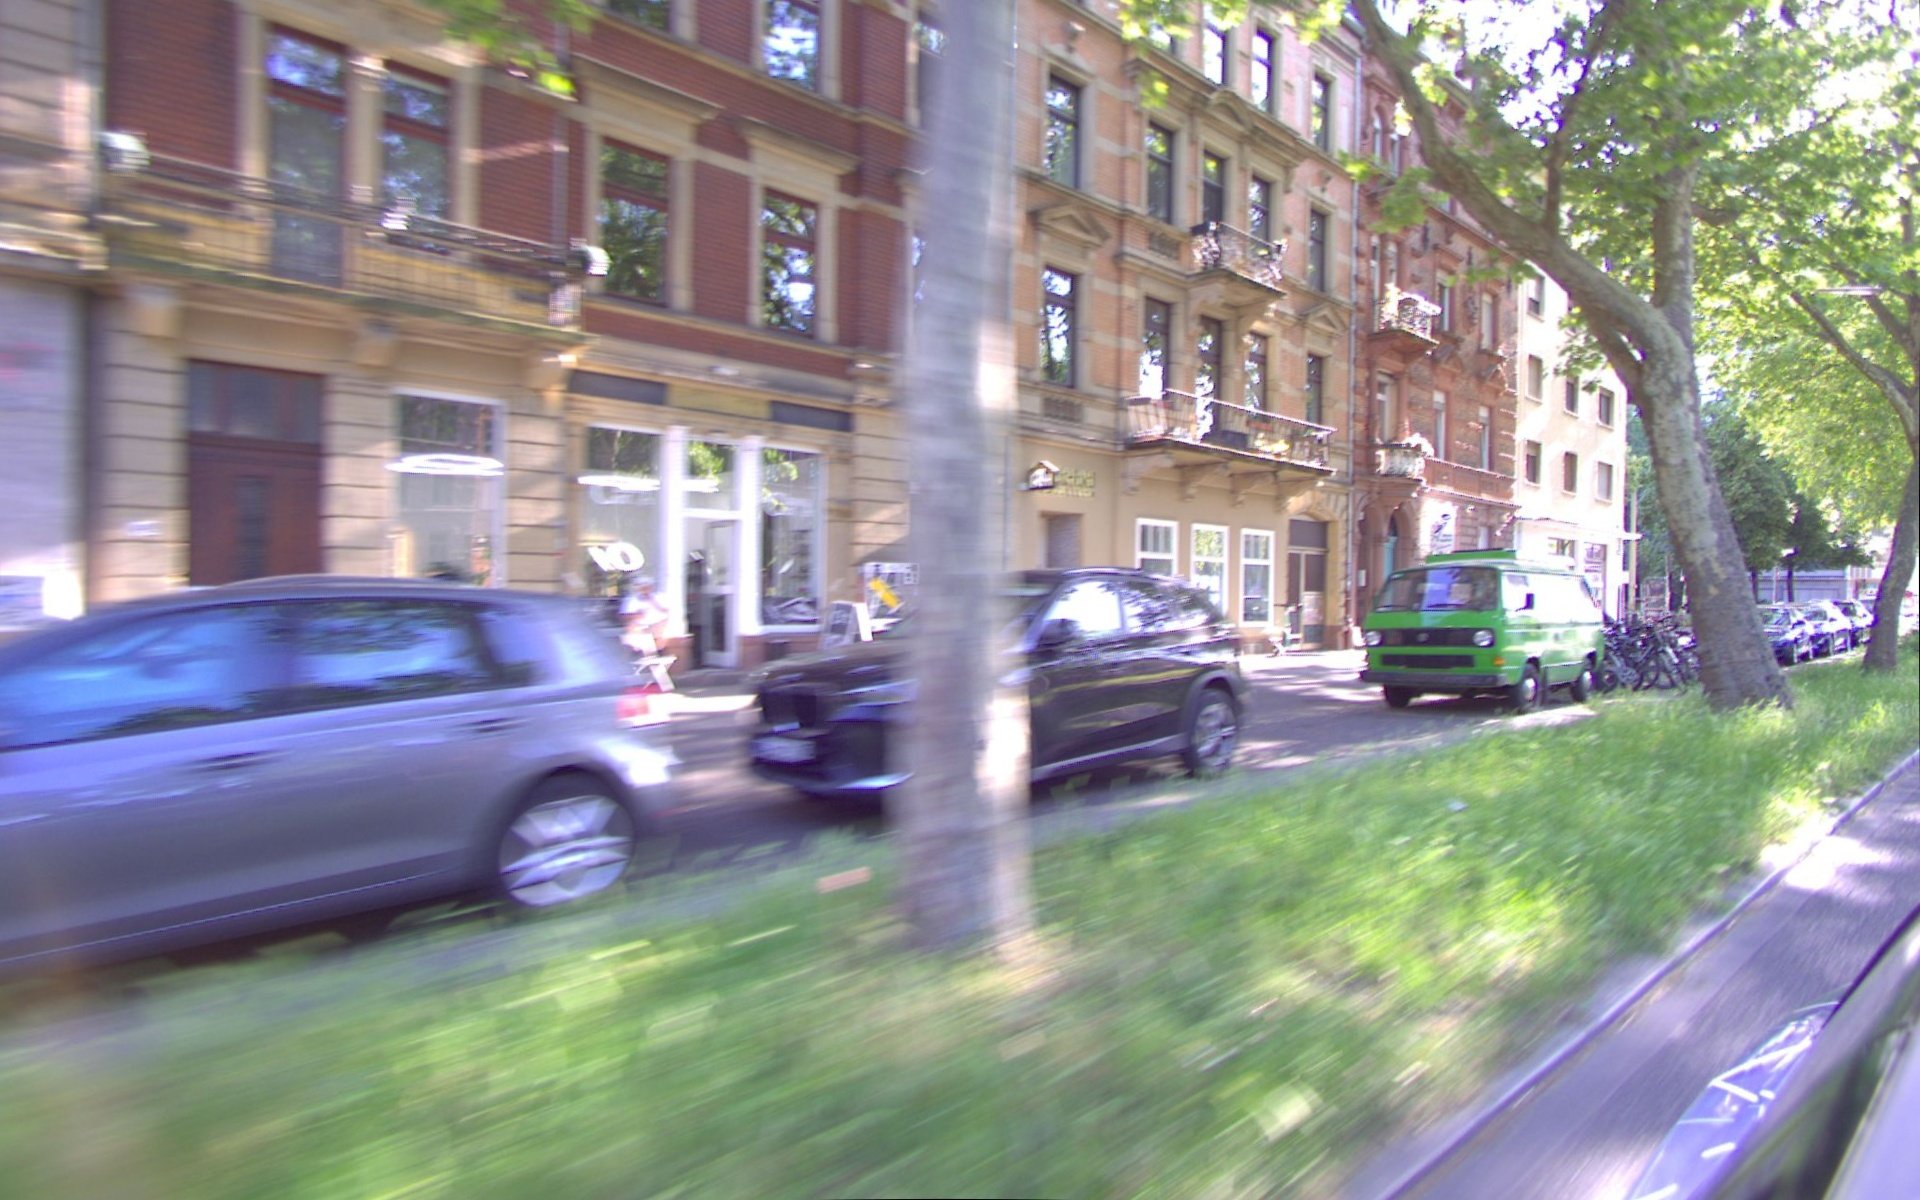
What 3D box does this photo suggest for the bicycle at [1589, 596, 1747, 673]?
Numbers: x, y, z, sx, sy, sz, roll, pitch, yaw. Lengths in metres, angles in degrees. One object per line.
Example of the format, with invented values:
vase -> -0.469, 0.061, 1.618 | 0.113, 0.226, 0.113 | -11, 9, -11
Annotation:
bicycle -> 12.773, 0.591, 18.319 | 0.965, 1.310, 2.169 | 0, 0, -39

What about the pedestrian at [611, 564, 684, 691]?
pedestrian -> -3.989, 0.331, 12.901 | 0.682, 1.566, 0.648 | 0, 0, -42

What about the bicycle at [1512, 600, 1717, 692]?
bicycle -> 10.093, 0.660, 15.687 | 2.548, 1.310, 0.959 | -1, 0, 43

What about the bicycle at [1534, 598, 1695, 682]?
bicycle -> 10.878, 0.626, 16.852 | 2.160, 1.310, 0.969 | -1, 0, 39

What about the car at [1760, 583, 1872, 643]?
car -> 23.885, 0.350, 28.183 | 4.500, 1.526, 1.698 | 1, 0, -41

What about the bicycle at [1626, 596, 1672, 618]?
bicycle -> 35.893, 0.344, 52.742 | 0.497, 1.117, 2.150 | 0, 1, -16

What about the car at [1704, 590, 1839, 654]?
car -> 19.898, 0.516, 24.772 | 4.119, 1.425, 1.836 | -1, -2, -41

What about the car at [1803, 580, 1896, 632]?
car -> 28.217, 0.183, 32.081 | 4.187, 1.549, 1.698 | 1, 0, -41

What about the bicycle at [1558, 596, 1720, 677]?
bicycle -> 11.826, 0.604, 17.688 | 0.965, 1.310, 2.168 | 0, 0, -40

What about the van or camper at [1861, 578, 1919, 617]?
van or camper -> 58.376, -0.194, 63.353 | 5.723, 2.315, 2.294 | -1, 0, -42

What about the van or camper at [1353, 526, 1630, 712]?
van or camper -> 7.394, 0.225, 13.844 | 4.694, 2.125, 1.835 | 0, -2, -43

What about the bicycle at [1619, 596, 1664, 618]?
bicycle -> 35.399, 0.363, 52.603 | 0.463, 1.117, 2.150 | 0, 1, -16

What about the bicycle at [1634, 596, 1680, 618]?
bicycle -> 36.422, 0.338, 52.897 | 0.497, 1.117, 2.150 | 0, 1, -16

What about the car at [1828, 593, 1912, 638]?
car -> 31.983, 0.529, 35.539 | 4.187, 1.470, 1.717 | 1, 0, -41

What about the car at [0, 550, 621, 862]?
car -> -4.582, 0.509, 6.669 | 4.113, 1.598, 1.756 | -1, 2, -42

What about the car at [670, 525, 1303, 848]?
car -> 0.471, 0.459, 7.546 | 4.719, 1.668, 1.892 | -1, -2, -43

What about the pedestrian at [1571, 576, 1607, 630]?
pedestrian -> 20.343, 0.088, 32.745 | 0.711, 1.726, 0.797 | 0, 1, -41

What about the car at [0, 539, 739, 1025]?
car -> -3.229, 0.582, 4.029 | 4.291, 1.483, 1.738 | -1, -2, -42
